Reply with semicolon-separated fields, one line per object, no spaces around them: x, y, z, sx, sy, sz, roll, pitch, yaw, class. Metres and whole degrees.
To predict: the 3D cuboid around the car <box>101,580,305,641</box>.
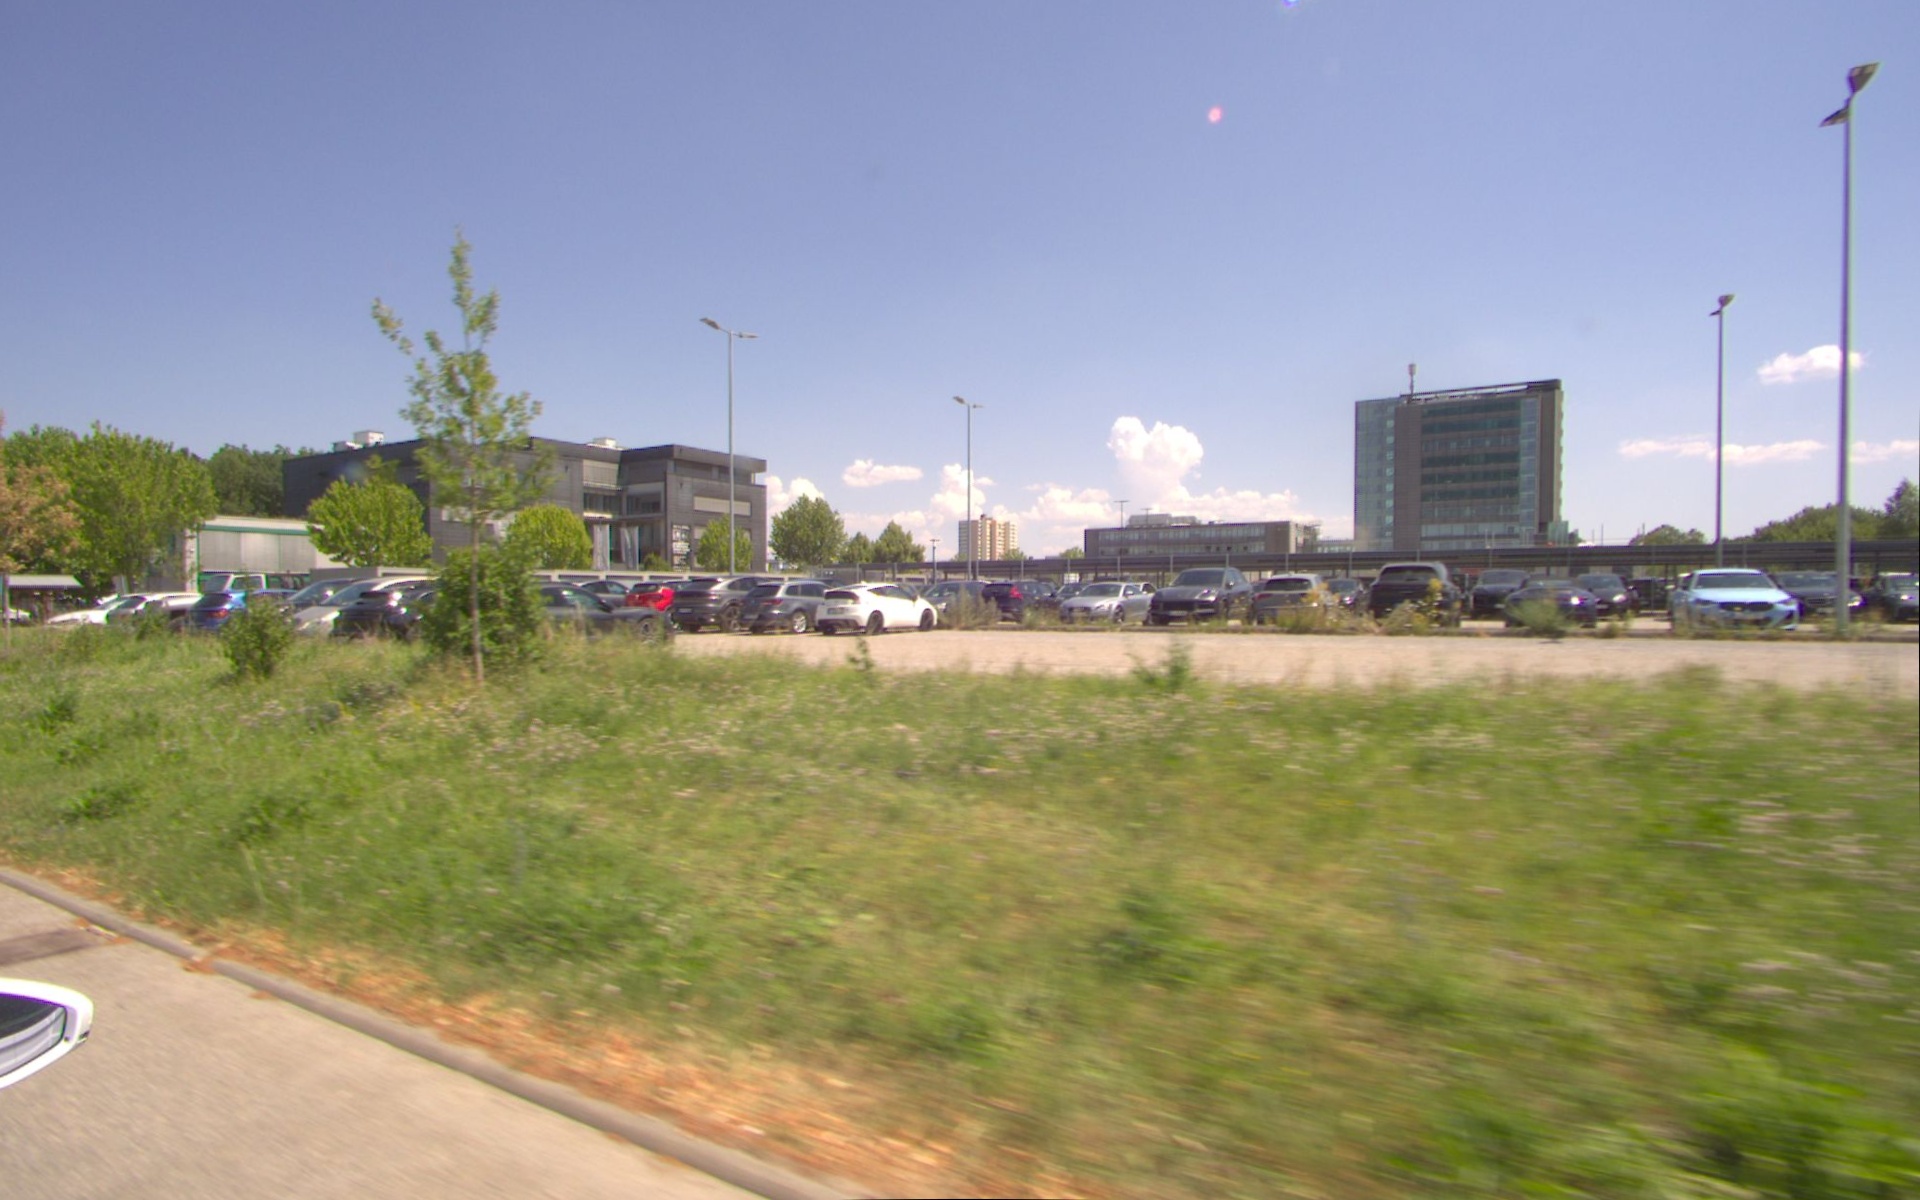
-20.763;0.217;27.649;1.741;1.420;4.157;4;3;28;car

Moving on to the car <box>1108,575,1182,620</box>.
7.484;-0.157;40.306;1.741;1.618;3.981;4;3;28;car

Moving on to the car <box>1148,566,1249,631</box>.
6.791;-0.104;28.262;1.741;1.618;3.981;4;3;28;car

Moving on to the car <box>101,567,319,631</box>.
-19.179;-0.091;25.822;1.741;1.420;4.157;4;3;28;car

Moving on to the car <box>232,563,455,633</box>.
-14.280;-0.116;23.464;1.741;1.420;4.157;4;3;28;car

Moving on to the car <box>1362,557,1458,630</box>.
11.380;-0.212;25.173;1.832;1.618;3.981;4;3;28;car

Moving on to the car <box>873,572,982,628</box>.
-0.978;-0.061;32.485;1.741;1.618;3.981;4;3;28;car

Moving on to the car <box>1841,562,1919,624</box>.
26.324;-0.209;27.874;1.741;1.618;3.981;4;3;28;car

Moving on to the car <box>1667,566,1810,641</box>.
16.993;0.008;22.059;1.741;1.412;3.981;4;3;28;car

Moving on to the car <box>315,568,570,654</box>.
-9.876;0.121;19.447;1.741;1.420;4.157;4;3;28;car

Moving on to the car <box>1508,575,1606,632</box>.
13.949;0.021;23.581;1.741;1.124;3.981;4;3;28;car

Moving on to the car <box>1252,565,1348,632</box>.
9.271;-0.107;27.128;1.741;1.618;3.981;4;3;28;car

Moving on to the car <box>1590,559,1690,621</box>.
20.815;-0.360;30.816;1.968;1.707;3.982;4;3;27;car

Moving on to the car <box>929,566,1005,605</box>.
0.357;-0.690;45.415;1.741;1.618;3.981;4;3;28;car

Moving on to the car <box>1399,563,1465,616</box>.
15.996;-0.400;33.845;1.741;1.618;3.981;4;3;28;car

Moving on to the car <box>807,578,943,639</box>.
-2.229;0.166;27.340;1.741;1.420;3.980;4;3;29;car

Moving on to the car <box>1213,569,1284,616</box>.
11.011;-0.324;38.080;1.741;1.618;3.981;4;3;28;car

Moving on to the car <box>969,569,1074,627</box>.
2.011;-0.117;31.573;1.741;1.618;3.981;4;3;28;car

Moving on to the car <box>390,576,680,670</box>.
-7.682;0.311;18.558;1.894;1.420;4.690;4;4;34;car

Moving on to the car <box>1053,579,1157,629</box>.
4.375;0.063;29.788;1.741;1.289;3.981;4;3;28;car

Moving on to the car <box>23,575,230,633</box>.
-23.501;0.045;28.419;1.741;1.420;4.157;4;3;28;car

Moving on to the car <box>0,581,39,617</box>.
-57.602;-0.005;57.123;1.973;2.116;7.150;0;1;35;car

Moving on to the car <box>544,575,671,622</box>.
-12.024;-0.106;34.414;1.741;1.420;3.981;4;3;28;car

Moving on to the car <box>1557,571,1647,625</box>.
20.556;-0.126;32.214;1.968;1.507;3.982;4;3;27;car

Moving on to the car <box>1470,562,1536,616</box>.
18.110;-0.400;33.454;1.741;1.618;3.981;4;3;28;car

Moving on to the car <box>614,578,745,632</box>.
-8.791;0.100;31.684;1.741;1.482;3.981;4;3;28;car

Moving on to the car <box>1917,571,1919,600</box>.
64.757;-0.912;65.557;1.969;2.042;3.980;4;4;30;car

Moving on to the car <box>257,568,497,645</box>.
-12.298;0.057;21.434;1.741;1.420;4.157;4;3;28;car

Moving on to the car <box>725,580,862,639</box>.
-4.601;0.194;28.226;1.741;1.420;3.981;4;3;28;car

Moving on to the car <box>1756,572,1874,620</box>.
24.891;-0.170;29.306;1.704;1.209;3.982;4;3;27;car

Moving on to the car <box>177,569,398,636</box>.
-16.294;-0.015;24.492;1.741;1.420;4.157;4;3;28;car

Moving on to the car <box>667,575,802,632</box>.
-6.666;0.043;29.976;1.741;1.511;3.981;4;3;28;car

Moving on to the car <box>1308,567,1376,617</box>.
13.929;-0.341;36.413;1.741;1.618;3.981;4;3;28;car

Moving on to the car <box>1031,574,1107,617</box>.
4.626;-0.235;42.045;1.741;1.618;3.981;4;3;28;car

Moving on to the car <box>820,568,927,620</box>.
-2.901;-0.259;34.493;1.741;1.618;3.981;4;3;28;car
